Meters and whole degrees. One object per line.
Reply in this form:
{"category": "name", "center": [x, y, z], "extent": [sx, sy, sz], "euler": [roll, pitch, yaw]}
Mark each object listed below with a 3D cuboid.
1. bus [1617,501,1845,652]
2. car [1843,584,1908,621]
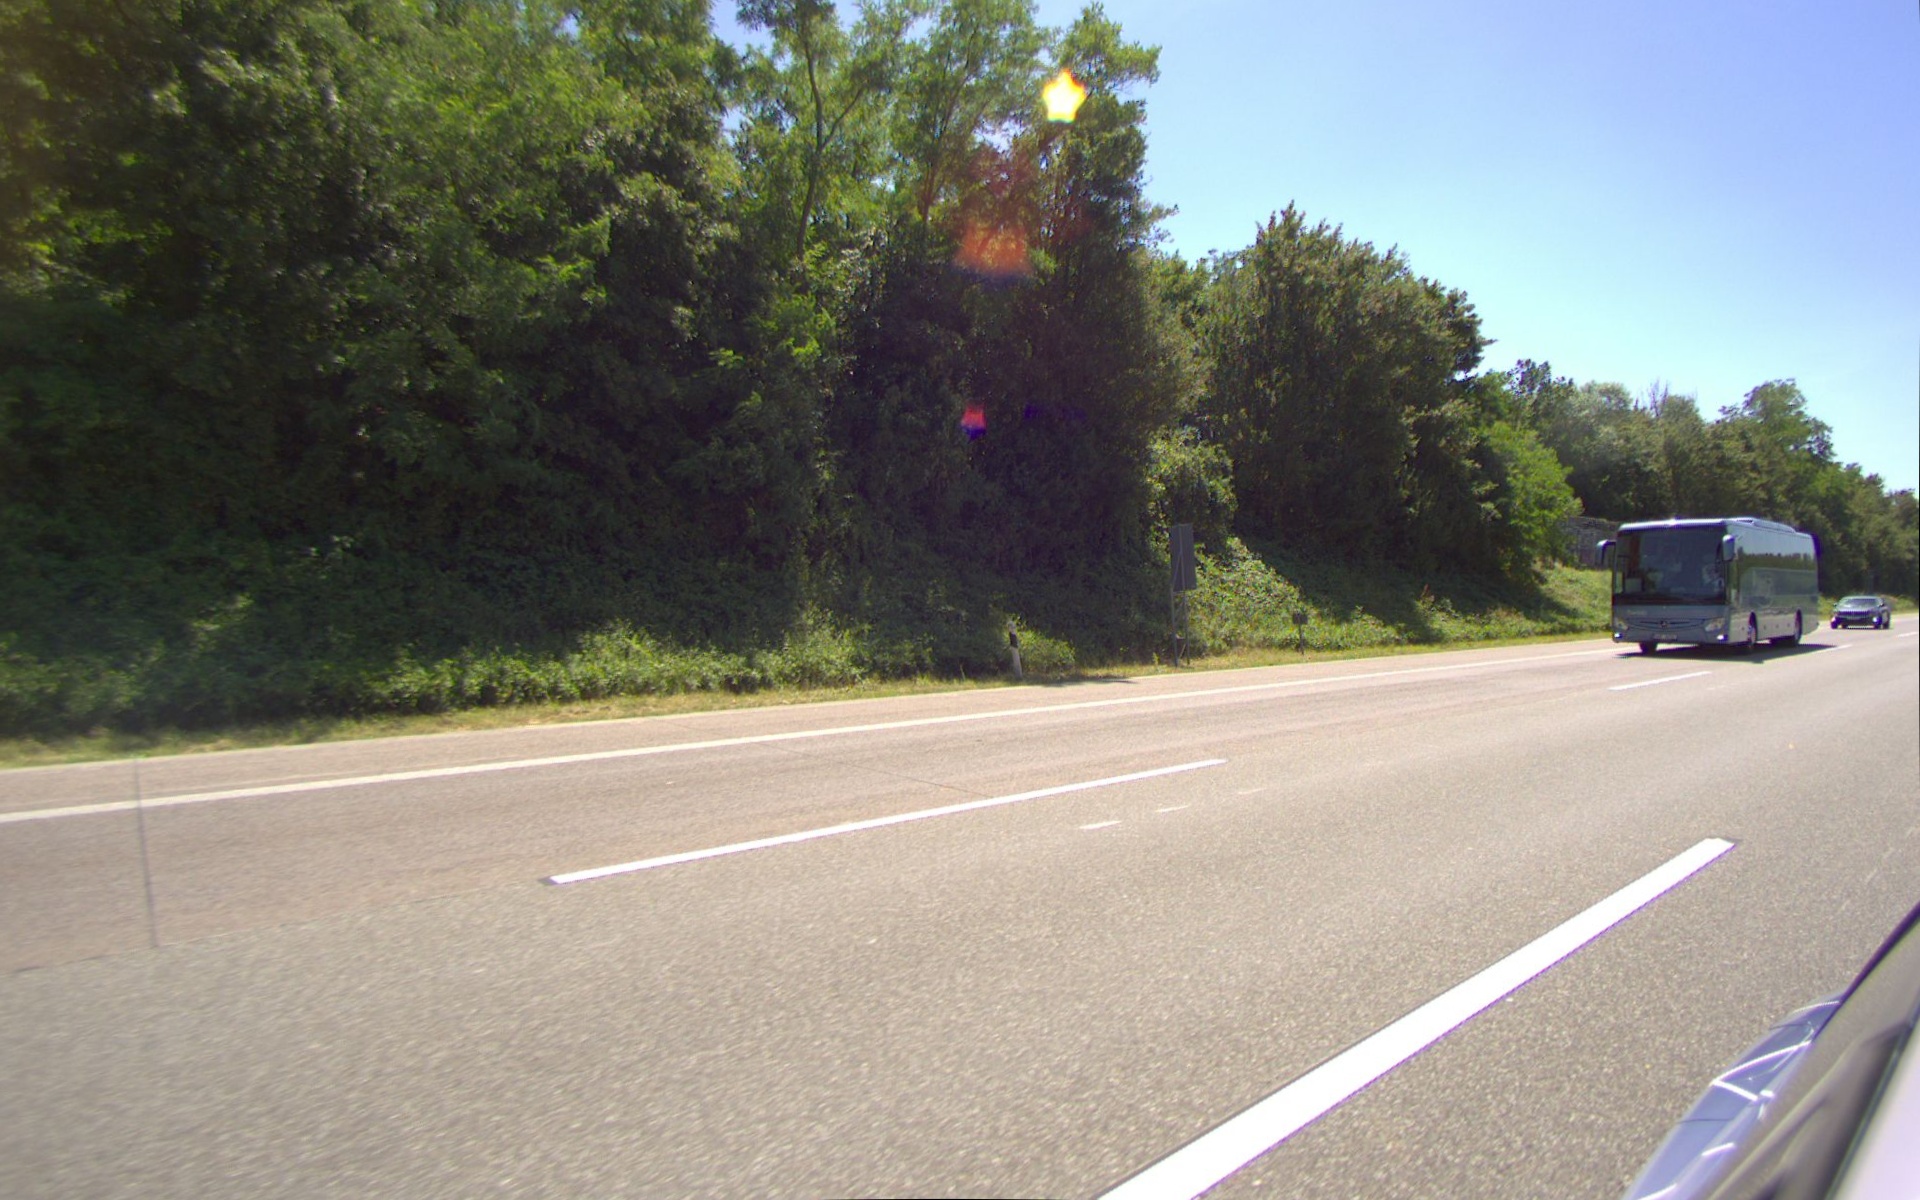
{"category": "bus", "center": [22.841, -0.667, 29.480], "extent": [13.445, 3.597, 2.614], "euler": [-1, 0, -41]}
{"category": "car", "center": [43.118, 0.090, 47.656], "extent": [3.930, 1.636, 1.813], "euler": [-1, 1, -41]}
